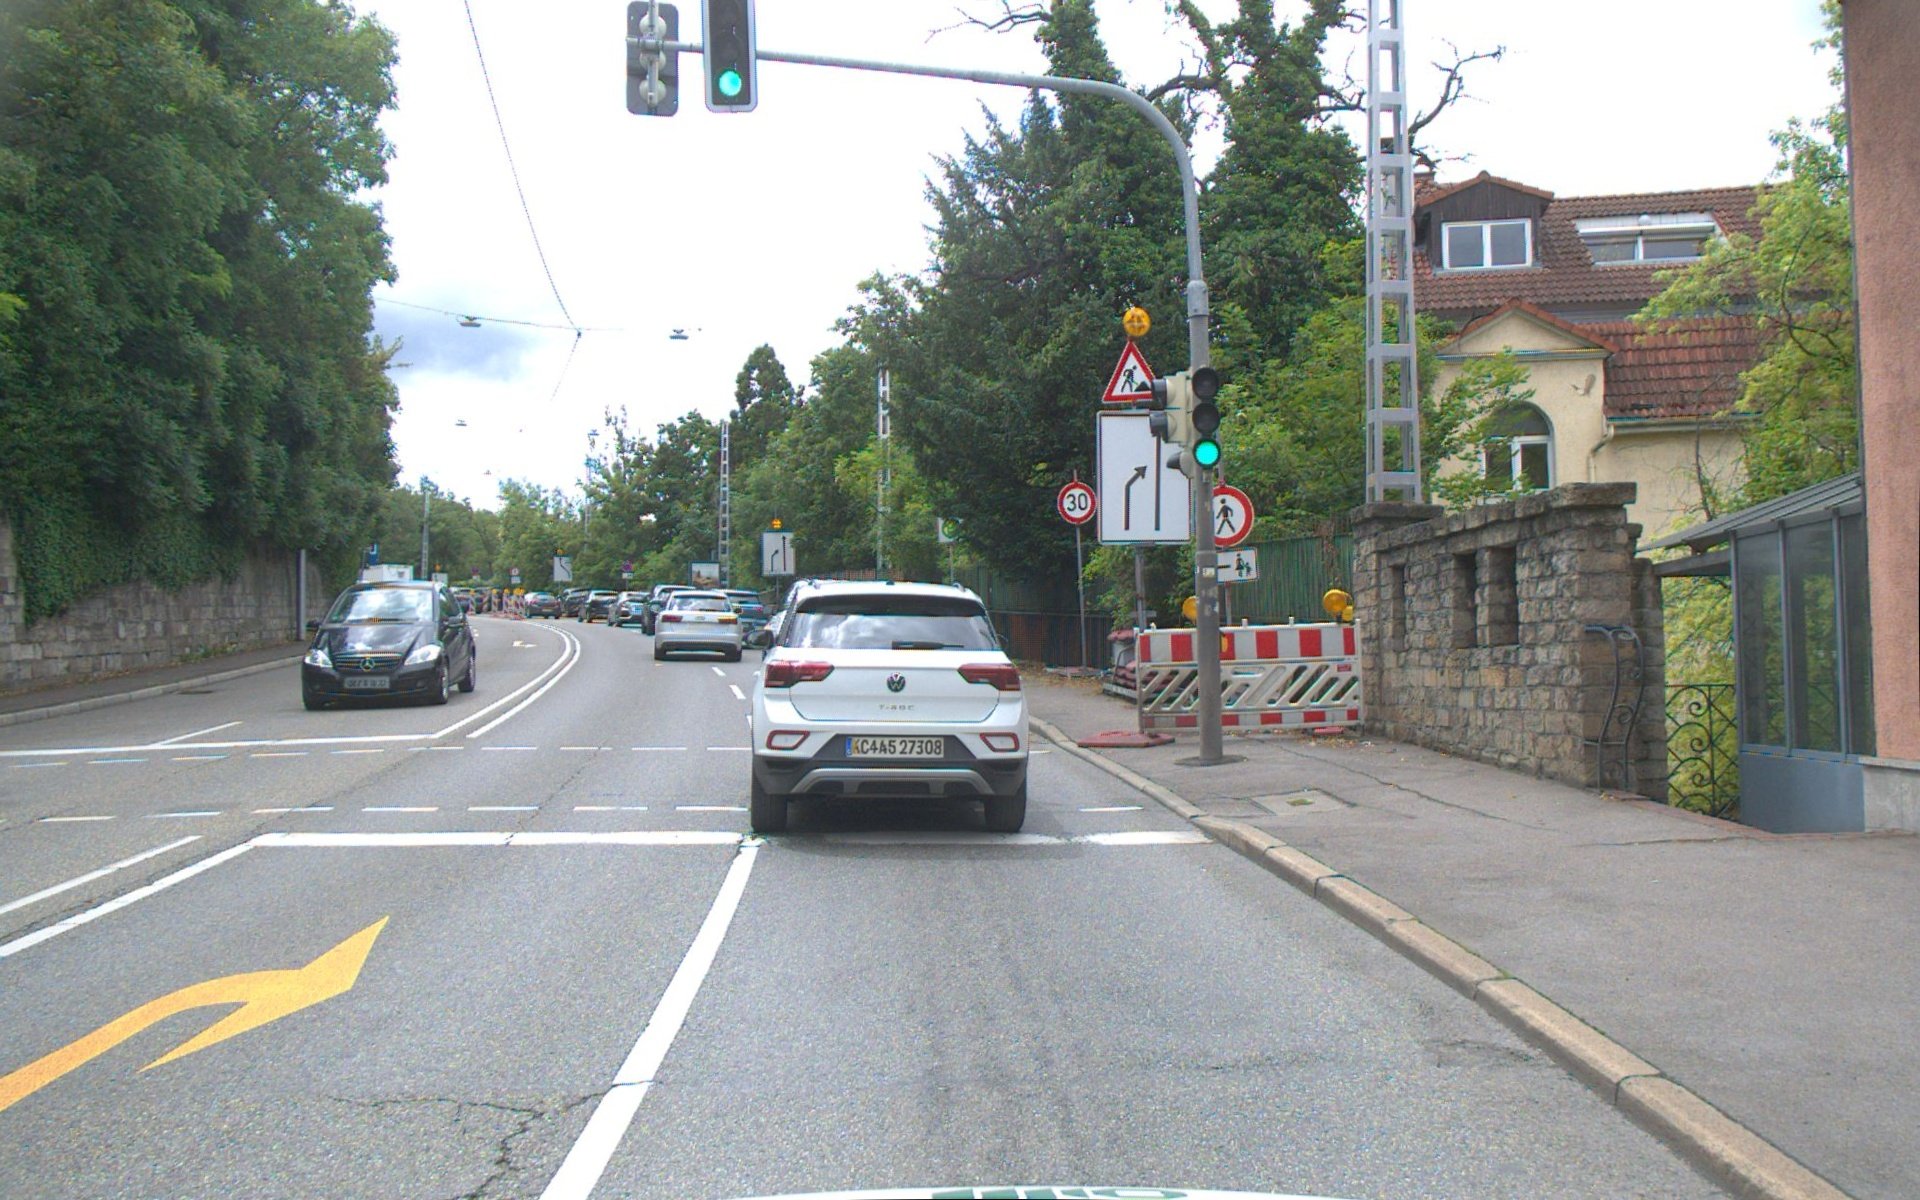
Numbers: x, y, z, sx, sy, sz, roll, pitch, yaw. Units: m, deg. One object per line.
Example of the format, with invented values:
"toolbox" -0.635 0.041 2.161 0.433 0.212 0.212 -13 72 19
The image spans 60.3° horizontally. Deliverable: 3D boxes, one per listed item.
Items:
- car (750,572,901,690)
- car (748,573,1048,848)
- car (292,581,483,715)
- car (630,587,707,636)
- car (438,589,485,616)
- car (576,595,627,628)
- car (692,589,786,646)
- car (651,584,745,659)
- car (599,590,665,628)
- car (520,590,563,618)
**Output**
"car" -2.126 0.461 25.200 1.727 1.638 3.782 1 -1 -13
"car" -0.515 0.669 11.527 1.723 1.583 3.791 1 -1 -5
"car" -7.590 0.590 22.262 1.722 1.593 3.672 -2 0 -8
"car" -9.861 0.356 55.782 1.963 1.583 4.128 1 0 -19
"car" -32.481 0.147 107.750 1.825 1.729 3.952 -1 0 -34
"car" -16.672 0.554 76.755 1.962 1.475 4.129 0 -1 -18
"car" -6.000 0.486 44.515 1.961 1.439 4.133 -1 -1 -15
"car" -5.695 0.460 35.637 1.727 1.497 3.783 1 -1 -13
"car" -13.318 0.370 67.019 1.965 1.475 4.124 0 -1 -21
"car" -23.424 0.235 92.455 1.757 1.480 3.971 0 -1 -23
